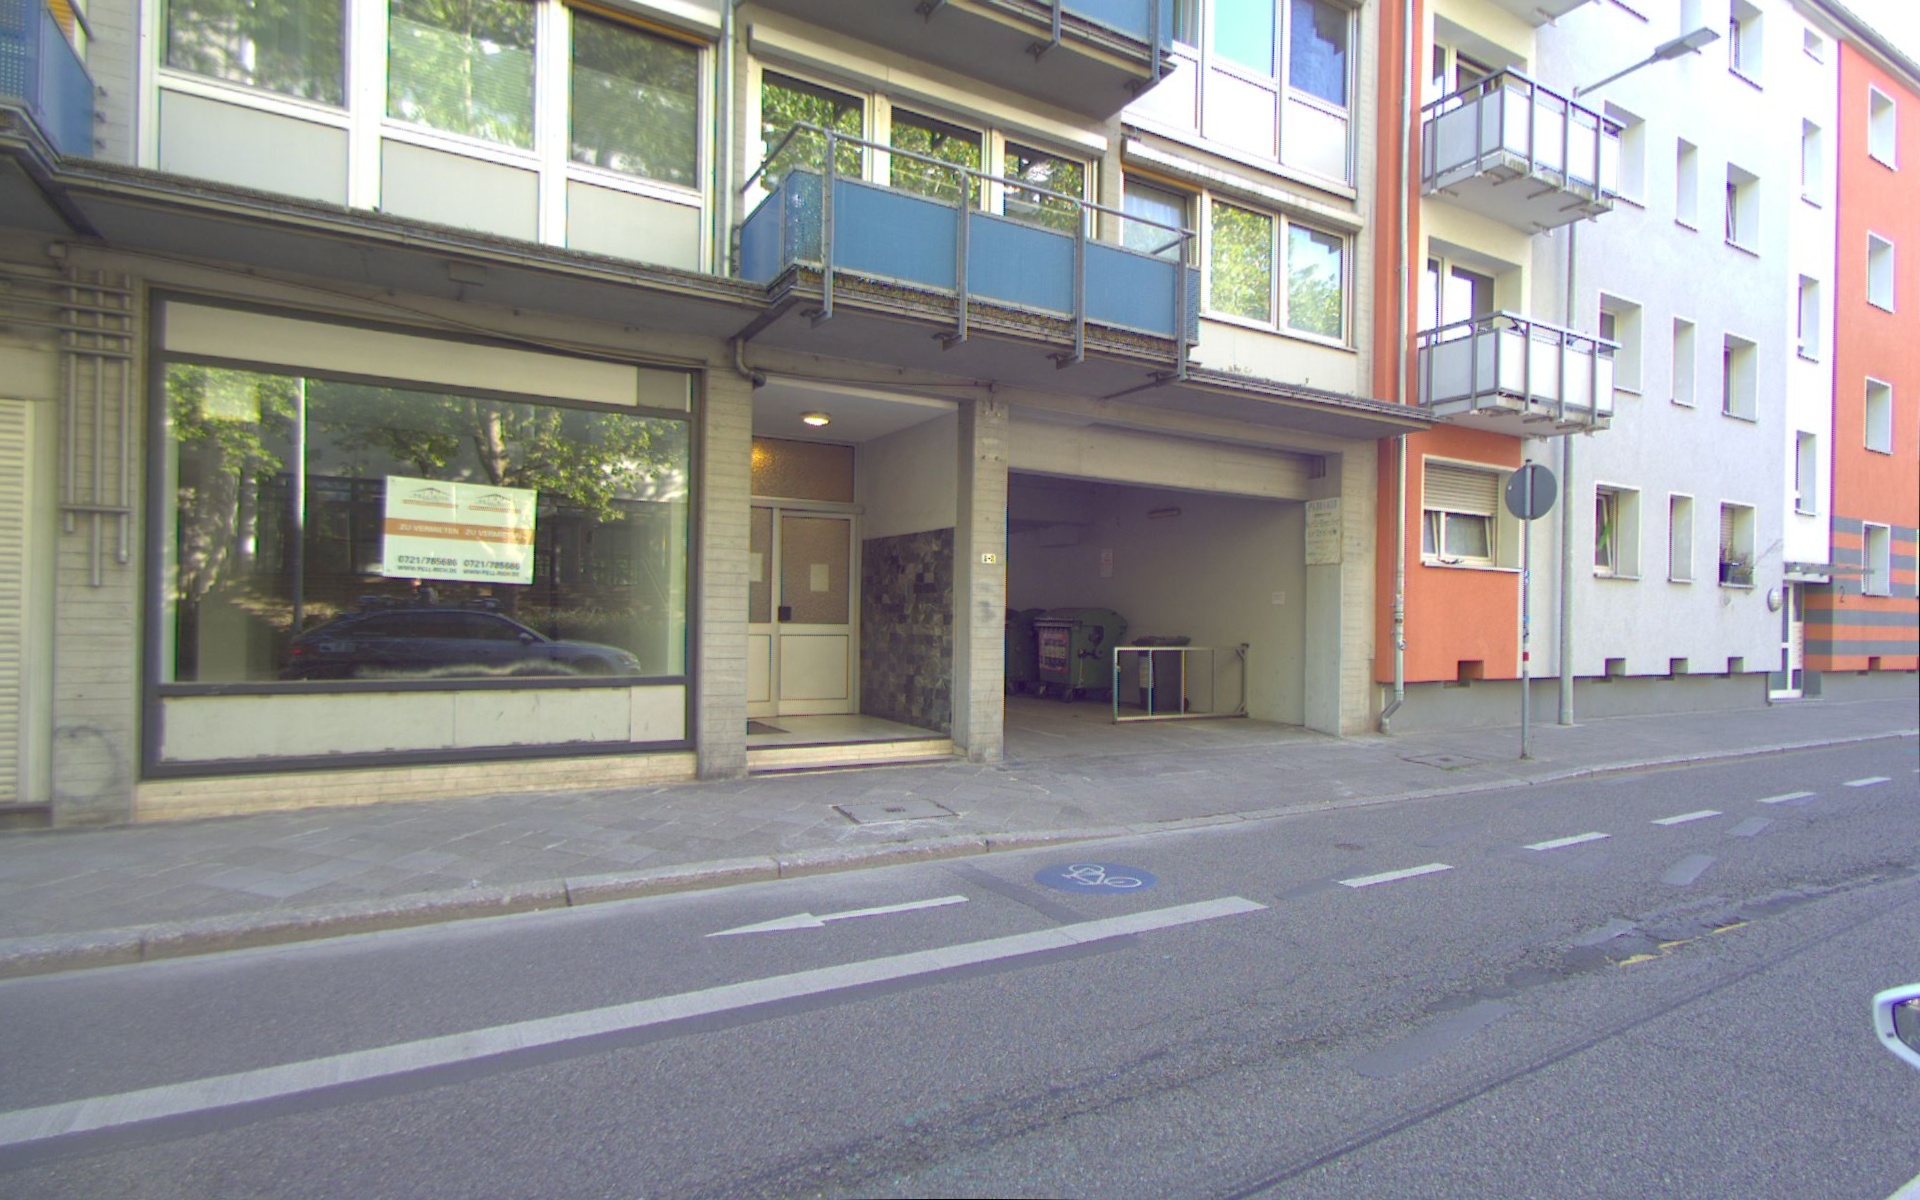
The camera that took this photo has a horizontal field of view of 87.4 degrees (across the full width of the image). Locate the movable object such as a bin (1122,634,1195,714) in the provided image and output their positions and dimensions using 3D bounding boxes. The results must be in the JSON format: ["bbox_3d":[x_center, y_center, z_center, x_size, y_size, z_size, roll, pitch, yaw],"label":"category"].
[{"bbox_3d":[2.860,1.059,14.527,0.707,1.089,0.735,2,0,-30],"label":"movable object such as a bin"}]

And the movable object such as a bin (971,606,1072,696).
[{"bbox_3d":[1.043,0.847,17.197,1.182,1.452,1.300,2,0,-30],"label":"movable object such as a bin"}]

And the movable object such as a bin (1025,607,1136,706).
[{"bbox_3d":[1.883,0.866,15.810,1.182,1.452,1.300,2,0,-30],"label":"movable object such as a bin"}]

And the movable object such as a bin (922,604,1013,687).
[{"bbox_3d":[0.130,0.828,18.771,1.182,1.452,1.300,2,0,-30],"label":"movable object such as a bin"}]

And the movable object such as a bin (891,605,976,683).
[{"bbox_3d":[-0.538,0.858,19.935,1.182,1.452,1.300,2,0,-30],"label":"movable object such as a bin"}]
